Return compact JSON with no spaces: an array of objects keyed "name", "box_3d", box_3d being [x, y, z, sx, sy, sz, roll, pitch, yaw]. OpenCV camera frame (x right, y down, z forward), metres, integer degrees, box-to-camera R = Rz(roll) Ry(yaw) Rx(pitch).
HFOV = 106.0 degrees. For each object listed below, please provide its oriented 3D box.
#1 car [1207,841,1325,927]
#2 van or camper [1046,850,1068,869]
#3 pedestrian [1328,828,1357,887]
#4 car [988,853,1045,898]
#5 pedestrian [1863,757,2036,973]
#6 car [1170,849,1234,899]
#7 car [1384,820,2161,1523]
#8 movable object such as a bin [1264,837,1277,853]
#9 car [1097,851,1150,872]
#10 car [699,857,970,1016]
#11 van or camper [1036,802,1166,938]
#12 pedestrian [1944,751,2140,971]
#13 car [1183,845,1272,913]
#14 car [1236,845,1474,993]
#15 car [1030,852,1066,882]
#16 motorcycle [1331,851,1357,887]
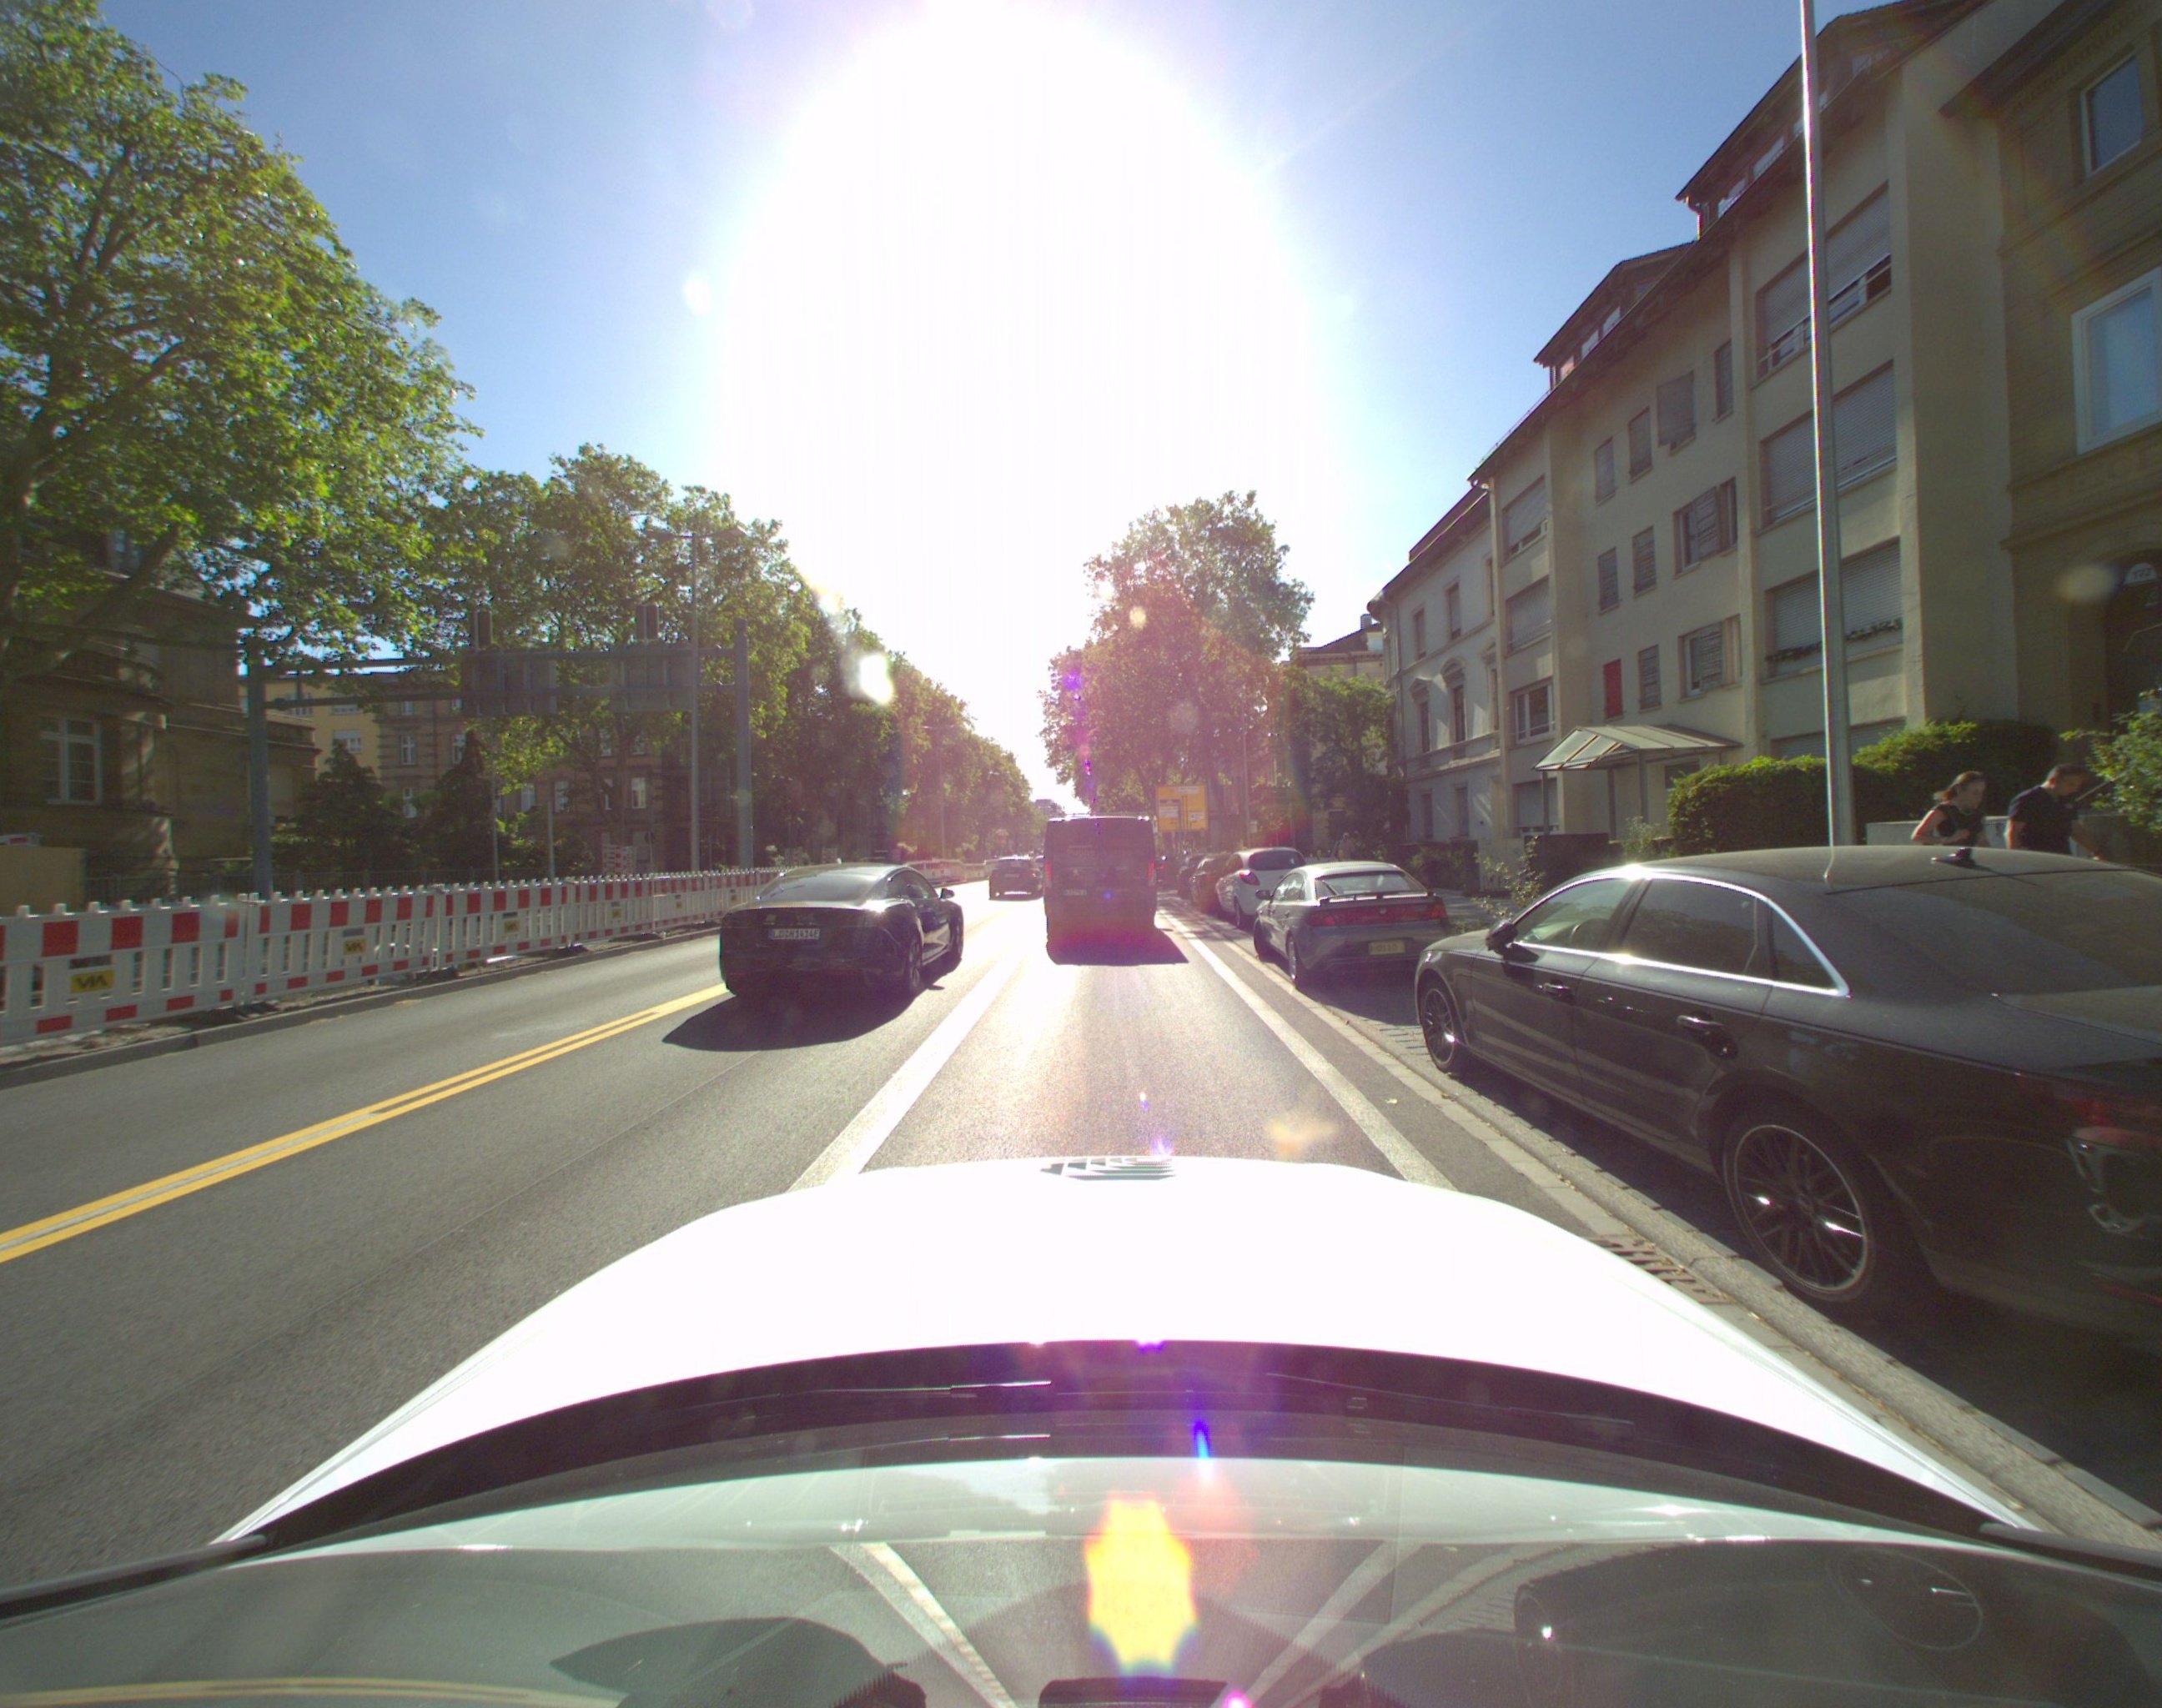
[{"name":"car","box_3d":[3.681,0.558,16.828,1.614,1.486,3.735,-3,0,2]},{"name":"van or camper","box_3d":[-2.653,0.592,91.822,1.986,2.013,5.331,-4,0,2]},{"name":"pedestrian","box_3d":[8.407,0.104,26.199,0.662,1.849,0.694,-3,-1,1]},{"name":"car","box_3d":[-2.256,0.737,29.379,1.614,1.486,3.735,-1,0,2]},{"name":"pedestrian","box_3d":[7.658,0.091,7.217,0.694,1.796,0.715,-2,0,1]},{"name":"car","box_3d":[4.038,0.631,27.747,1.614,1.486,4.099,-3,0,2]},{"name":"car","box_3d":[3.152,0.653,3.967,1.710,1.412,4.478,-5,0,2]},{"name":"movable object such as a bin","box_3d":[12.347,-0.580,53.006,0.684,0.970,0.548,-2,-1,4]},{"name":"car","box_3d":[3.512,0.624,67.050,3.994,1.568,1.769,3,-1,-16]},{"name":"car","box_3d":[-2.668,0.796,10.037,1.831,1.483,4.478,-1,0,2]},{"name":"van or camper","box_3d":[0.378,0.286,16.554,2.238,2.346,4.537,-1,0,0]},{"name":"pedestrian","box_3d":[8.379,0.055,7.144,0.694,1.796,0.802,-2,0,1]},{"name":"car","box_3d":[3.668,0.594,21.015,1.614,1.486,4.058,-3,0,2]},{"name":"car","box_3d":[3.187,0.667,10.366,1.710,1.412,4.050,-3,0,2]},{"name":"car","box_3d":[-1.739,0.665,43.597,1.614,1.486,3.735,-1,0,2]},{"name":"motorcycle","box_3d":[9.181,0.507,28.461,0.593,1.186,1.559,-2,0,8]}]
